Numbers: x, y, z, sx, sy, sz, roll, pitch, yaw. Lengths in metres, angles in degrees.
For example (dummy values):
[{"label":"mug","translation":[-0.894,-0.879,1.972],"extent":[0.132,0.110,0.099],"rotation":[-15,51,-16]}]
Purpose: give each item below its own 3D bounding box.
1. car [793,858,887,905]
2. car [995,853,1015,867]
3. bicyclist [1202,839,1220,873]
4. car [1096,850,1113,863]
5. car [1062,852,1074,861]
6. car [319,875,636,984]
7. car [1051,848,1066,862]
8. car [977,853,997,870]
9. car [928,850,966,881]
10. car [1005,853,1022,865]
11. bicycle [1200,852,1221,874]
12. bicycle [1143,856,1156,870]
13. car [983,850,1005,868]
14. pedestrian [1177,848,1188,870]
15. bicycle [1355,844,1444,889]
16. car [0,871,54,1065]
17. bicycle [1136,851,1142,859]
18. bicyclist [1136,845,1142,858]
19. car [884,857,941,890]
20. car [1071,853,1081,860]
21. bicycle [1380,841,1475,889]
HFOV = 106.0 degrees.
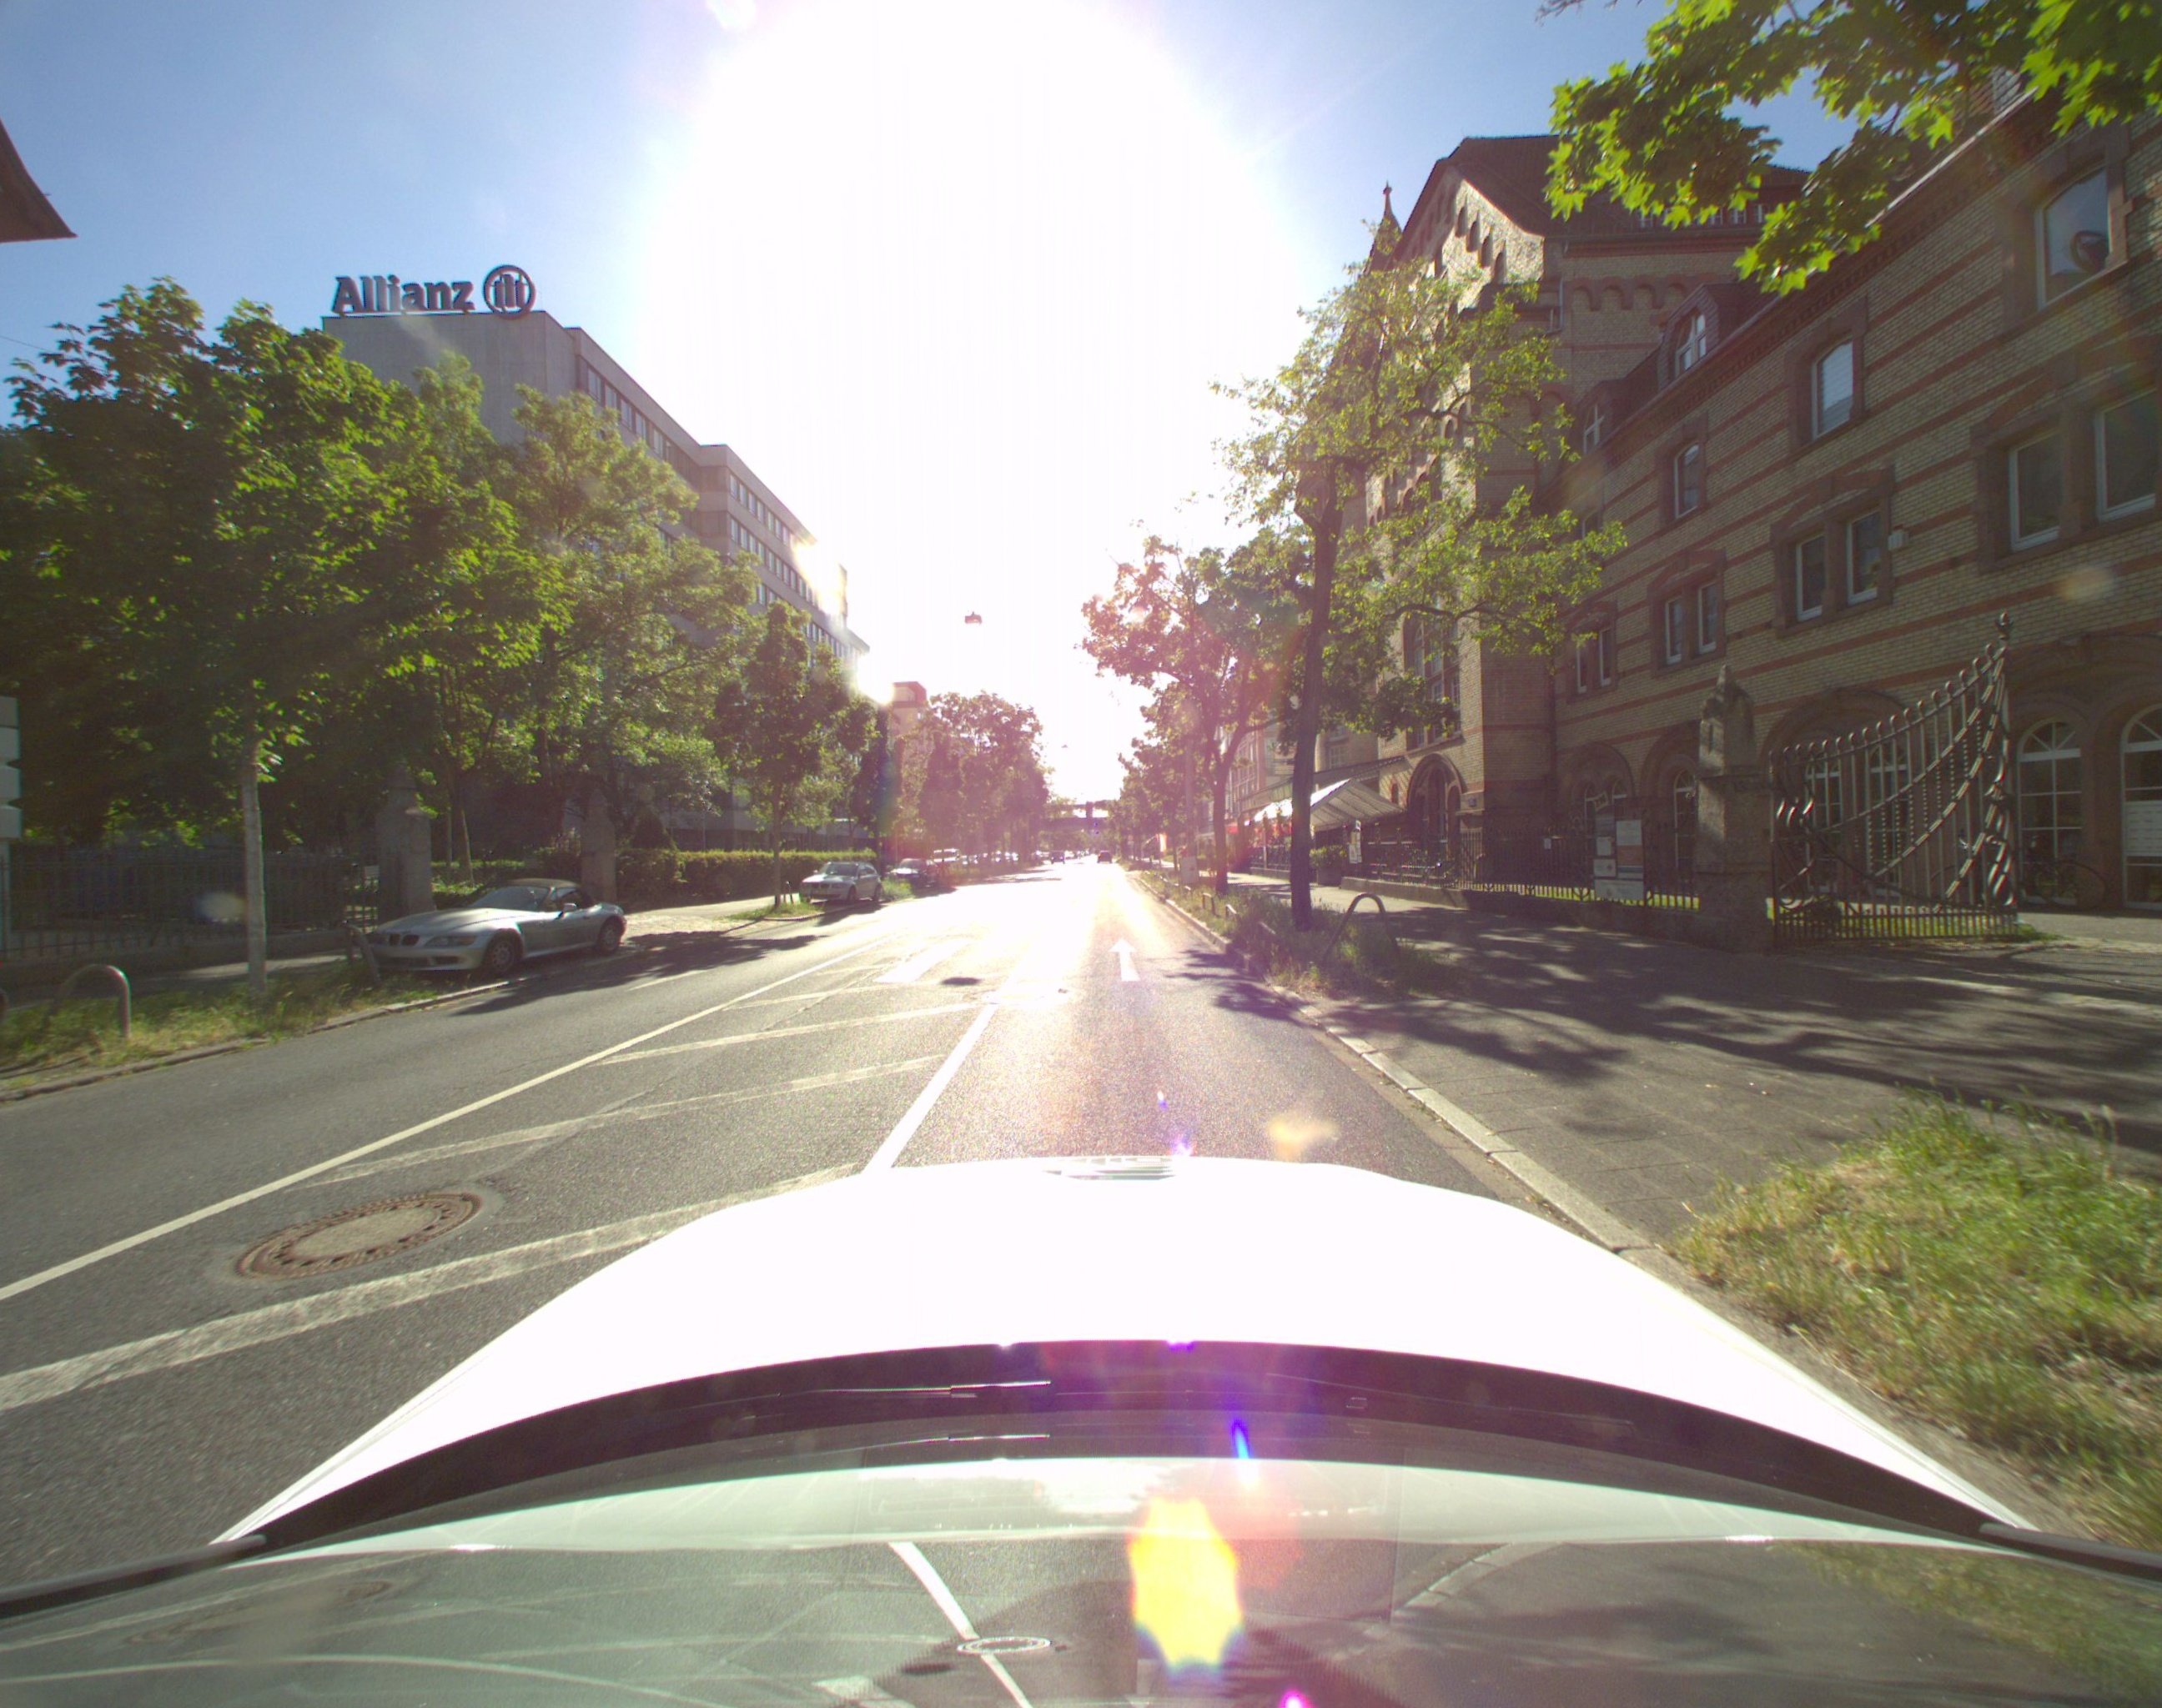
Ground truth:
[{"label":"car","translation":[-8.239,0.893,28.205],"extent":[1.681,1.383,4.195],"rotation":[3,0,4]},{"label":"car","translation":[-8.886,0.730,95.982],"extent":[1.849,1.568,3.873],"rotation":[0,0,2]},{"label":"bicyclist","translation":[6.323,0.091,39.562],"extent":[0.698,1.599,0.955],"rotation":[-1,-1,0]},{"label":"car","translation":[2.909,0.275,100.960],"extent":[1.978,1.600,4.140],"rotation":[-1,0,0]},{"label":"car","translation":[-2.243,0.455,144.416],"extent":[1.849,1.568,4.715],"rotation":[-3,0,1]},{"label":"car","translation":[-8.696,1.004,12.258],"extent":[1.672,1.255,4.016],"rotation":[0,0,2]},{"label":"car","translation":[-3.048,0.152,110.277],"extent":[1.850,1.825,4.609],"rotation":[-3,0,0]},{"label":"car","translation":[-9.427,0.752,82.037],"extent":[1.852,1.684,4.658],"rotation":[0,0,-4]},{"label":"car","translation":[-9.973,0.807,60.842],"extent":[1.975,2.076,5.194],"rotation":[-3,0,-1]},{"label":"car","translation":[-8.749,0.672,105.534],"extent":[1.849,1.523,4.318],"rotation":[0,0,0]},{"label":"bicycle","translation":[6.316,0.438,39.696],"extent":[0.683,1.027,2.095],"rotation":[-1,-1,0]},{"label":"bicycle","translation":[5.450,0.688,64.551],"extent":[0.586,1.066,2.032],"rotation":[-1,0,18]},{"label":"car","translation":[-9.387,0.550,87.958],"extent":[1.849,1.850,4.562],"rotation":[0,0,0]},{"label":"pedestrian","translation":[7.545,0.361,60.538],"extent":[0.652,1.604,0.602],"rotation":[-4,-1,-5]},{"label":"bicycle","translation":[8.750,0.335,22.402],"extent":[2.192,1.179,0.686],"rotation":[-1,-1,-5]},{"label":"car","translation":[-9.212,0.873,4.241],"extent":[1.852,1.494,4.700],"rotation":[2,0,-3]},{"label":"bicycle","translation":[7.464,0.129,104.817],"extent":[0.587,1.027,1.860],"rotation":[-1,-1,0]},{"label":"bicyclist","translation":[7.462,-0.293,104.642],"extent":[0.665,1.695,0.889],"rotation":[0,-1,1]},{"label":"car","translation":[-8.099,0.909,39.498],"extent":[1.705,1.458,4.075],"rotation":[0,0,3]},{"label":"car","translation":[-1.078,0.456,175.268],"extent":[1.849,1.440,4.318],"rotation":[-3,0,0]},{"label":"bicycle","translation":[8.997,0.277,21.181],"extent":[2.192,1.179,0.686],"rotation":[-1,-1,-5]}]
